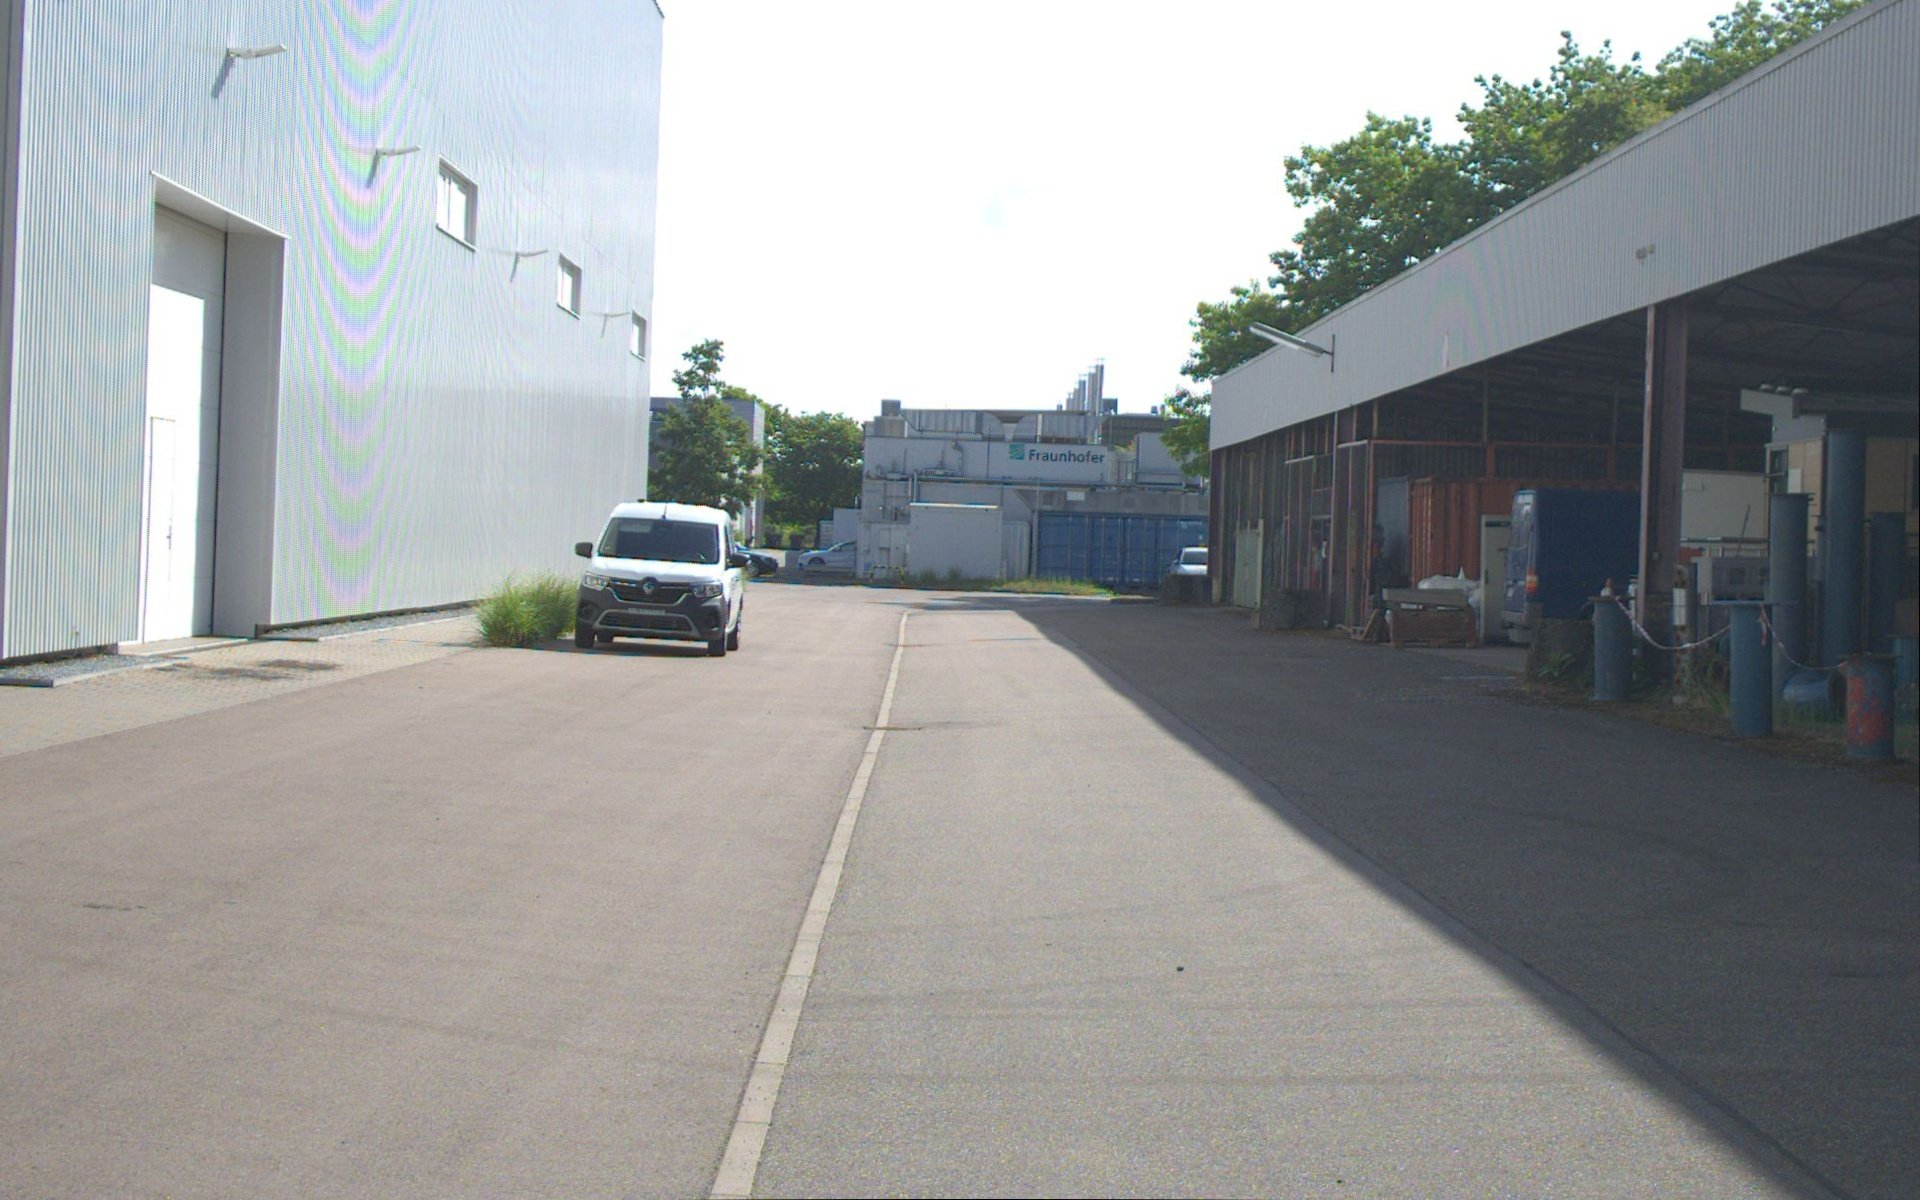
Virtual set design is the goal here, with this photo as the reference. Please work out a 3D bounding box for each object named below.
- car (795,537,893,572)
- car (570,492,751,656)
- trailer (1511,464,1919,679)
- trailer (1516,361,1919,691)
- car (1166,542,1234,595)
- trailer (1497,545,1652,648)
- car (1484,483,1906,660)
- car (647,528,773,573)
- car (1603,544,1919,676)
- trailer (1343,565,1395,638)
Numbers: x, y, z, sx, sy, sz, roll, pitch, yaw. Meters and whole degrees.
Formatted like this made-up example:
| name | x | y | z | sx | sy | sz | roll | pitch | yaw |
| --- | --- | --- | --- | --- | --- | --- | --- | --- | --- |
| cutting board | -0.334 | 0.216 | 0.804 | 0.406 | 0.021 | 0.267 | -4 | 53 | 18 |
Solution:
| name | x | y | z | sx | sy | sz | roll | pitch | yaw |
| --- | --- | --- | --- | --- | --- | --- | --- | --- | --- |
| car | -5.117 | -2.011 | 152.298 | 4.302 | 1.452 | 1.824 | 1 | 0 | -1 |
| car | -3.638 | -0.325 | 42.459 | 1.783 | 1.809 | 4.602 | 3 | 0 | -1 |
| trailer | 8.665 | -0.323 | 38.905 | 4.516 | 2.334 | 2.047 | 0 | 0 | 1 |
| trailer | 11.273 | -0.749 | 36.409 | 10.268 | 3.331 | 2.801 | 0 | 1 | 0 |
| car | 7.791 | -1.052 | 111.993 | 1.979 | 1.597 | 4.377 | 1 | 2 | 1 |
| trailer | 8.974 | -0.067 | 50.320 | 2.038 | 1.461 | 1.738 | 1 | 1 | 4 |
| car | 10.134 | -0.394 | 47.705 | 5.332 | 2.273 | 2.153 | 1 | 0 | -1 |
| car | -9.021 | -1.786 | 124.389 | 4.447 | 1.526 | 1.824 | 1 | 0 | -1 |
| car | 10.107 | 0.117 | 41.473 | 4.247 | 1.466 | 1.870 | 1 | 1 | -3 |
| trailer | 6.346 | 0.015 | 53.423 | 0.551 | 1.114 | 1.547 | 0 | 0 | -2 |
